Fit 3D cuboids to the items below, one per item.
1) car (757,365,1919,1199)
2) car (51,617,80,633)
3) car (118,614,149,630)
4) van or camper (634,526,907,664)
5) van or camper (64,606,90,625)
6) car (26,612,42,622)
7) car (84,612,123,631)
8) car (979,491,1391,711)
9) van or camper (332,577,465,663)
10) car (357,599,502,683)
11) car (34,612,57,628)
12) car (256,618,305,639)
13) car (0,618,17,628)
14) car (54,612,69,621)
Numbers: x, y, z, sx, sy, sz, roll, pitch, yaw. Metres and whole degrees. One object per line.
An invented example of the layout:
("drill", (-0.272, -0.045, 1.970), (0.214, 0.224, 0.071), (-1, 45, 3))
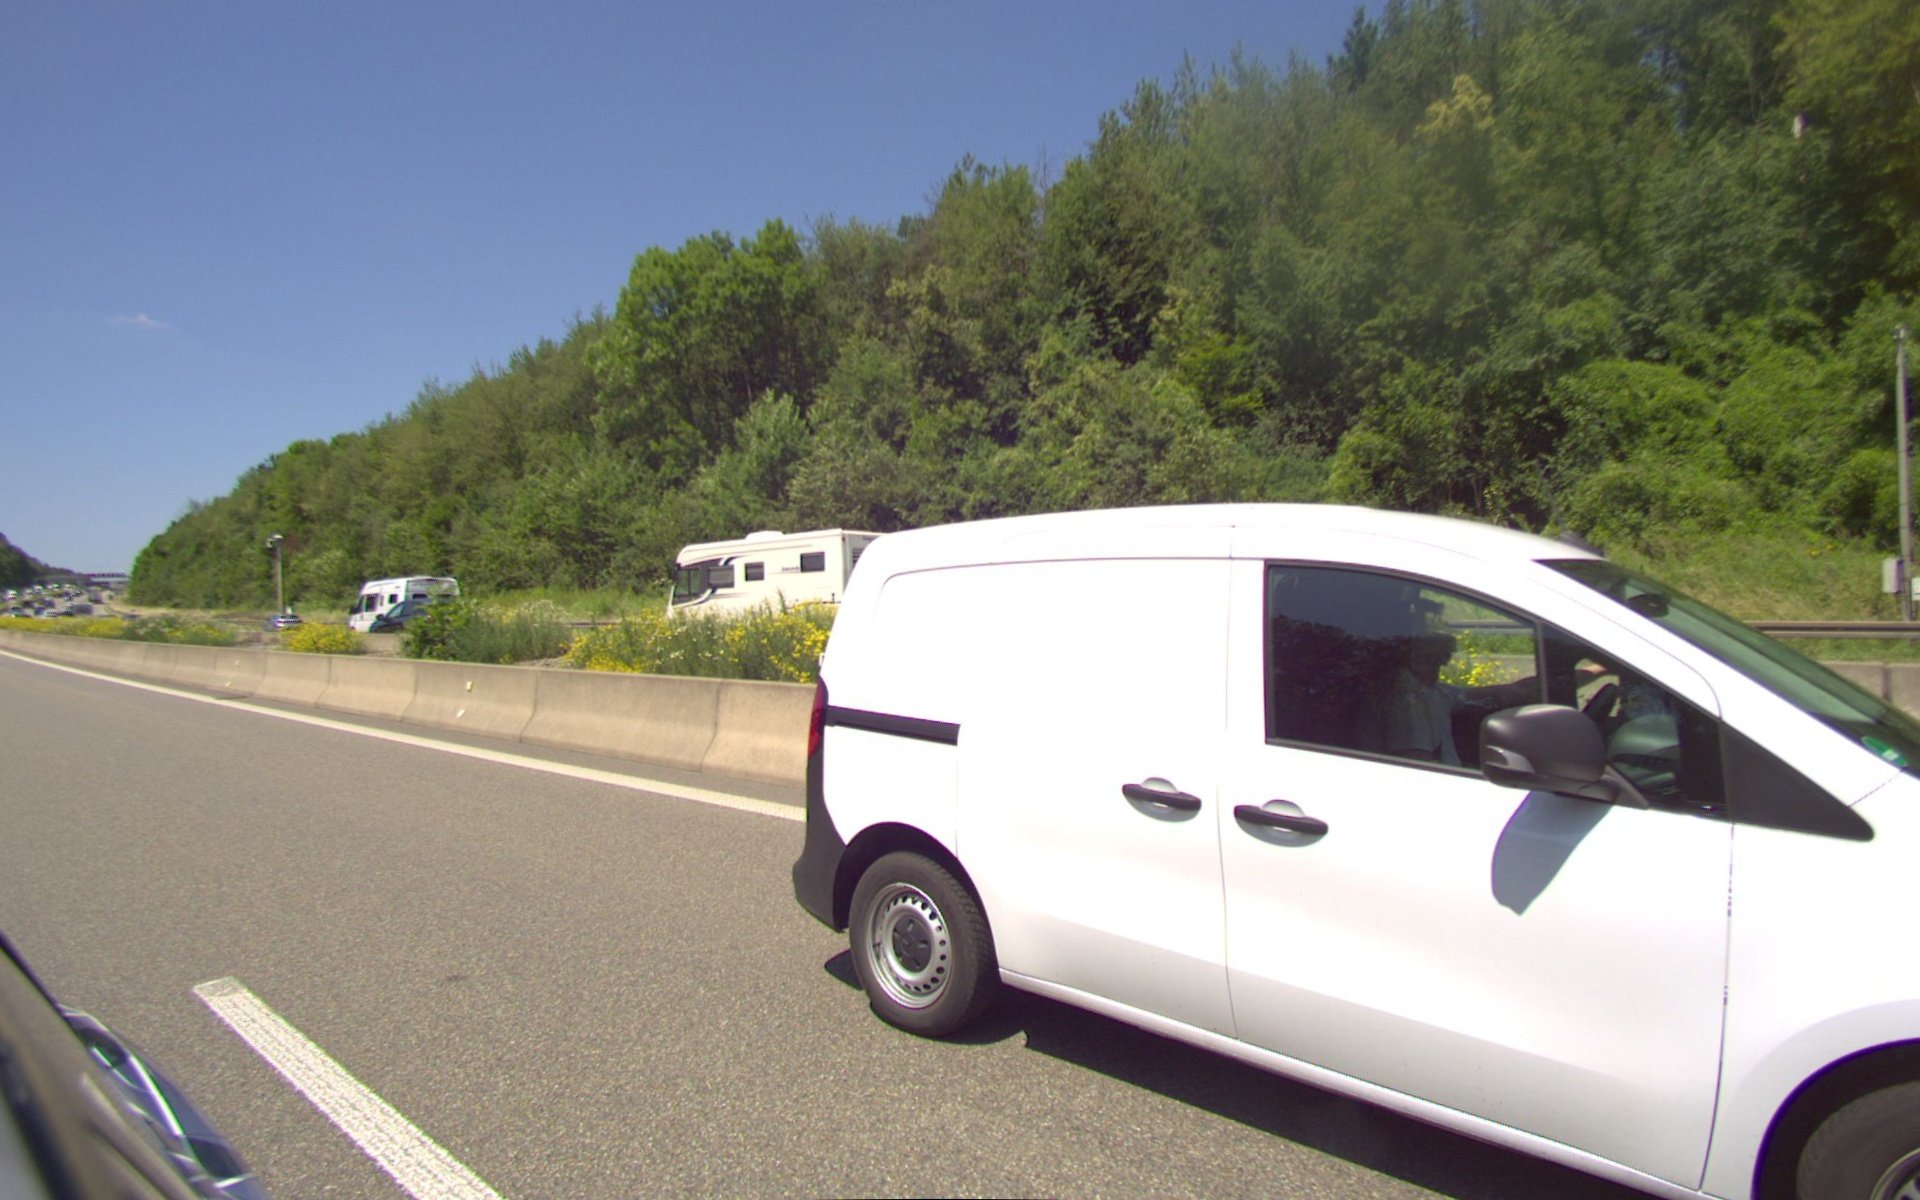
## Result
("car", (1.533, 0.516, 3.038), (4.672, 1.826, 1.746), (-1, -1, 42))
("car", (-96.958, 2.703, 109.685), (4.161, 1.602, 1.972), (0, 0, 42))
("car", (-81.740, 2.189, 100.052), (3.999, 1.467, 1.769), (0, 0, 42))
("van or camper", (-5.583, -0.151, 28.385), (8.997, 3.342, 2.514), (0, 0, 41))
("van or camper", (-125.850, 2.123, 144.287), (6.933, 2.579, 2.162), (0, 0, 43))
("car", (-162.233, 3.025, 177.289), (4.403, 1.703, 1.971), (0, 0, 45))
("car", (-73.180, 1.830, 86.463), (4.272, 1.599, 1.972), (-1, -1, 42))
("car", (3.206, 0.061, 15.386), (5.743, 2.762, 2.178), (-1, -1, 40))
("van or camper", (-20.823, 0.715, 37.396), (6.554, 2.921, 2.234), (-1, -1, 41))
("car", (-13.377, 0.977, 25.442), (3.999, 1.940, 1.972), (-1, 0, 42))
("car", (-120.373, 2.607, 133.178), (4.569, 2.029, 1.971), (0, 0, 44))
("car", (-49.258, 2.029, 73.321), (4.190, 1.443, 1.973), (-1, -1, 41))
("car", (-143.398, 3.439, 152.468), (3.857, 1.497, 1.788), (-1, 0, 44))
("car", (-172.160, 3.226, 193.924), (1.969, 1.629, 4.490), (0, -1, -41))
